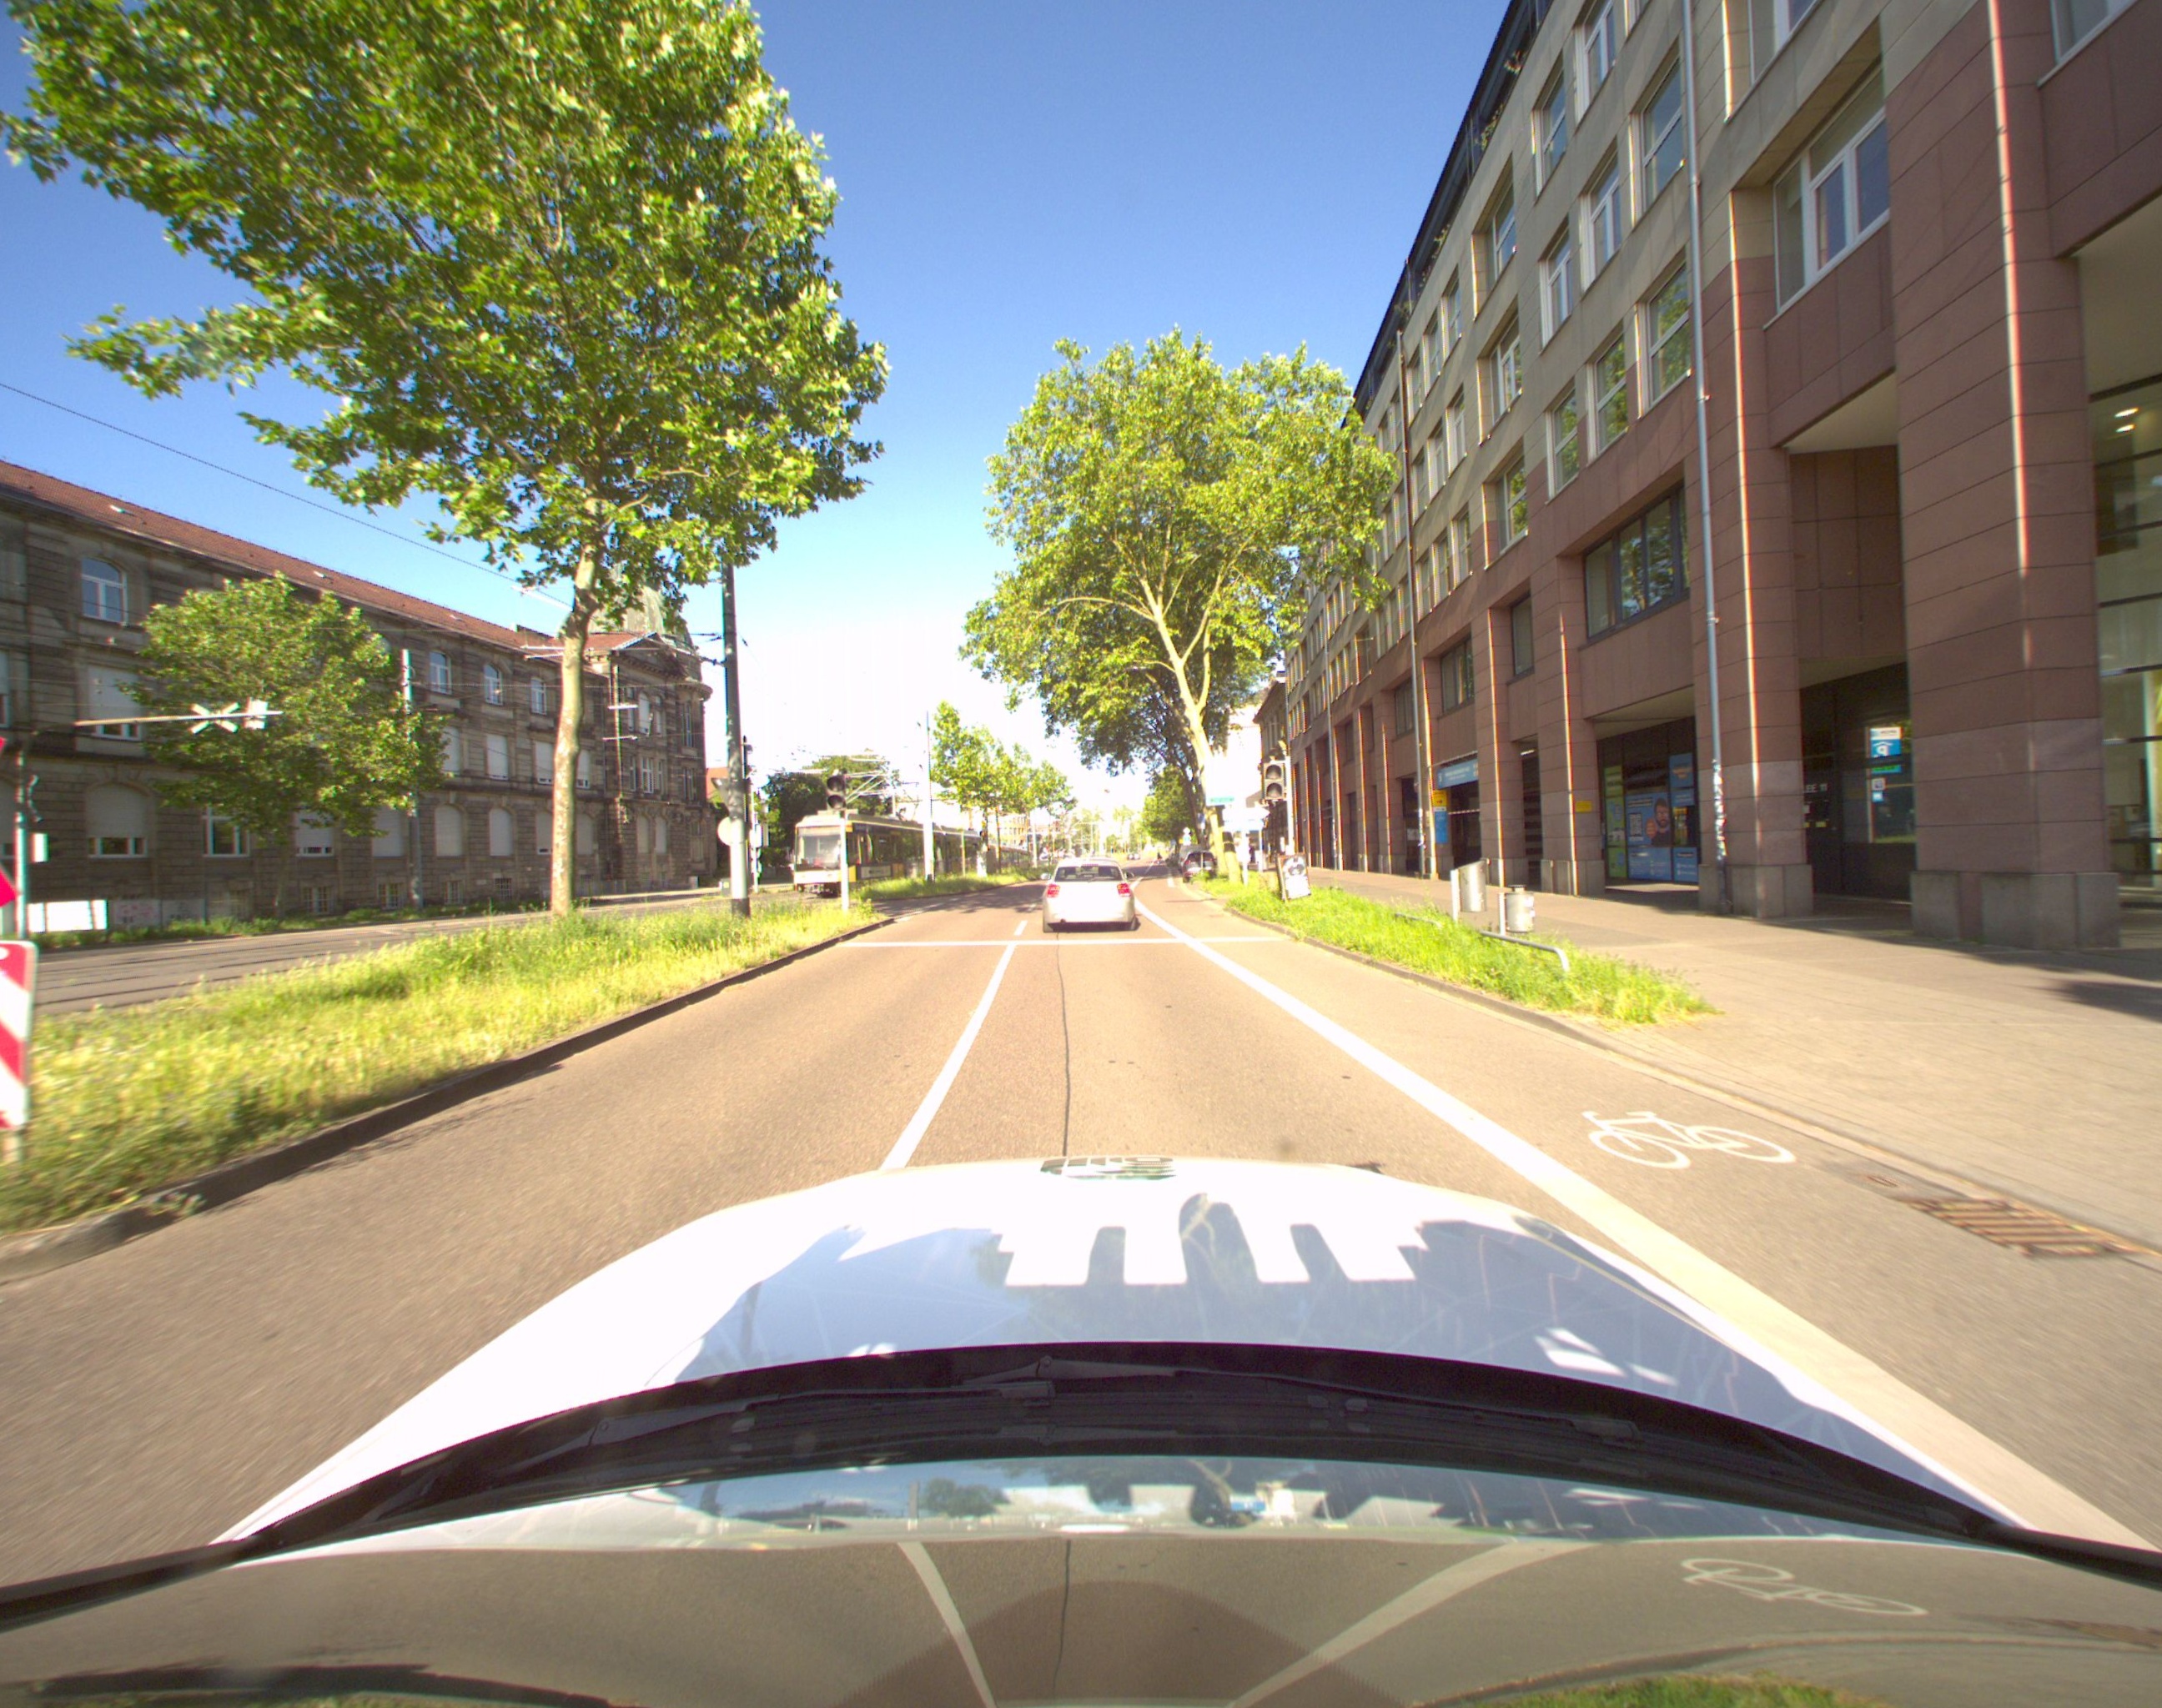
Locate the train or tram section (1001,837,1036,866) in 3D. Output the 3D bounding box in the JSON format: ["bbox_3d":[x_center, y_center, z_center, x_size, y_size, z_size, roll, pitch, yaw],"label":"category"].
[{"bbox_3d":[-7.950,-0.344,104.614,2.949,3.483,11.296,-1,0,3],"label":"train or tram section"}]

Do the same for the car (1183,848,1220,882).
[{"bbox_3d":[5.896,0.504,40.151,1.659,1.570,4.288,0,0,7],"label":"car"}]

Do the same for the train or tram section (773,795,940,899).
[{"bbox_3d":[-9.541,-0.234,37.237,2.916,3.812,14.285,0,0,3],"label":"train or tram section"}]

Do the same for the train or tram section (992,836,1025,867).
[{"bbox_3d":[-8.457,-0.277,95.877,2.943,3.483,6.066,-1,0,3],"label":"train or tram section"}]

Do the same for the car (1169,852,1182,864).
[{"bbox_3d":[13.367,0.583,115.310,1.686,1.502,3.807,-4,0,5],"label":"car"}]

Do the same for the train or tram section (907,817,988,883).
[{"bbox_3d":[-8.529,-0.243,53.631,2.940,3.897,10.812,0,0,3],"label":"train or tram section"}]

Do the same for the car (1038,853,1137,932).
[{"bbox_3d":[0.167,0.703,16.769,1.791,1.415,4.001,0,0,1],"label":"car"}]

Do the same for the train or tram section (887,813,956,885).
[{"bbox_3d":[-9.007,-0.261,46.287,2.942,3.897,3.869,0,0,3],"label":"train or tram section"}]

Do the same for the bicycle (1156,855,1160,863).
[{"bbox_3d":[9.969,0.621,105.565,0.497,1.088,2.000,0,0,6],"label":"bicycle"}]

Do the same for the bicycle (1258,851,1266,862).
[{"bbox_3d":[16.043,0.239,72.193,0.412,0.997,1.885,-2,0,5],"label":"bicycle"}]

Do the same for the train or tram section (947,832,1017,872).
[{"bbox_3d":[-9.517,-0.204,82.253,2.950,3.483,21.241,-1,0,4],"label":"train or tram section"}]

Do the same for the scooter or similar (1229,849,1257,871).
[{"bbox_3d":[9.548,0.358,47.963,1.533,1.237,0.449,-2,0,6],"label":"scooter or similar"}]

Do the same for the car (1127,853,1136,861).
[{"bbox_3d":[10.635,0.635,171.659,1.719,1.470,4.414,-2,0,3],"label":"car"}]

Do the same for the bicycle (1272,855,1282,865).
[{"bbox_3d":[15.587,0.448,64.753,0.546,0.773,1.665,-4,-1,5],"label":"bicycle"}]

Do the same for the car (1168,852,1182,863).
[{"bbox_3d":[14.135,0.507,122.875,2.028,1.509,4.601,-2,0,5],"label":"car"}]

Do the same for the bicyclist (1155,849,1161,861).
[{"bbox_3d":[9.957,0.158,105.621,0.781,1.531,0.896,0,0,5],"label":"bicyclist"}]

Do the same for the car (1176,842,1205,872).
[{"bbox_3d":[7.567,0.225,56.770,1.847,2.014,4.731,0,0,5],"label":"car"}]

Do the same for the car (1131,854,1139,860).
[{"bbox_3d":[11.849,0.626,179.581,1.636,1.421,4.006,-1,0,6],"label":"car"}]
